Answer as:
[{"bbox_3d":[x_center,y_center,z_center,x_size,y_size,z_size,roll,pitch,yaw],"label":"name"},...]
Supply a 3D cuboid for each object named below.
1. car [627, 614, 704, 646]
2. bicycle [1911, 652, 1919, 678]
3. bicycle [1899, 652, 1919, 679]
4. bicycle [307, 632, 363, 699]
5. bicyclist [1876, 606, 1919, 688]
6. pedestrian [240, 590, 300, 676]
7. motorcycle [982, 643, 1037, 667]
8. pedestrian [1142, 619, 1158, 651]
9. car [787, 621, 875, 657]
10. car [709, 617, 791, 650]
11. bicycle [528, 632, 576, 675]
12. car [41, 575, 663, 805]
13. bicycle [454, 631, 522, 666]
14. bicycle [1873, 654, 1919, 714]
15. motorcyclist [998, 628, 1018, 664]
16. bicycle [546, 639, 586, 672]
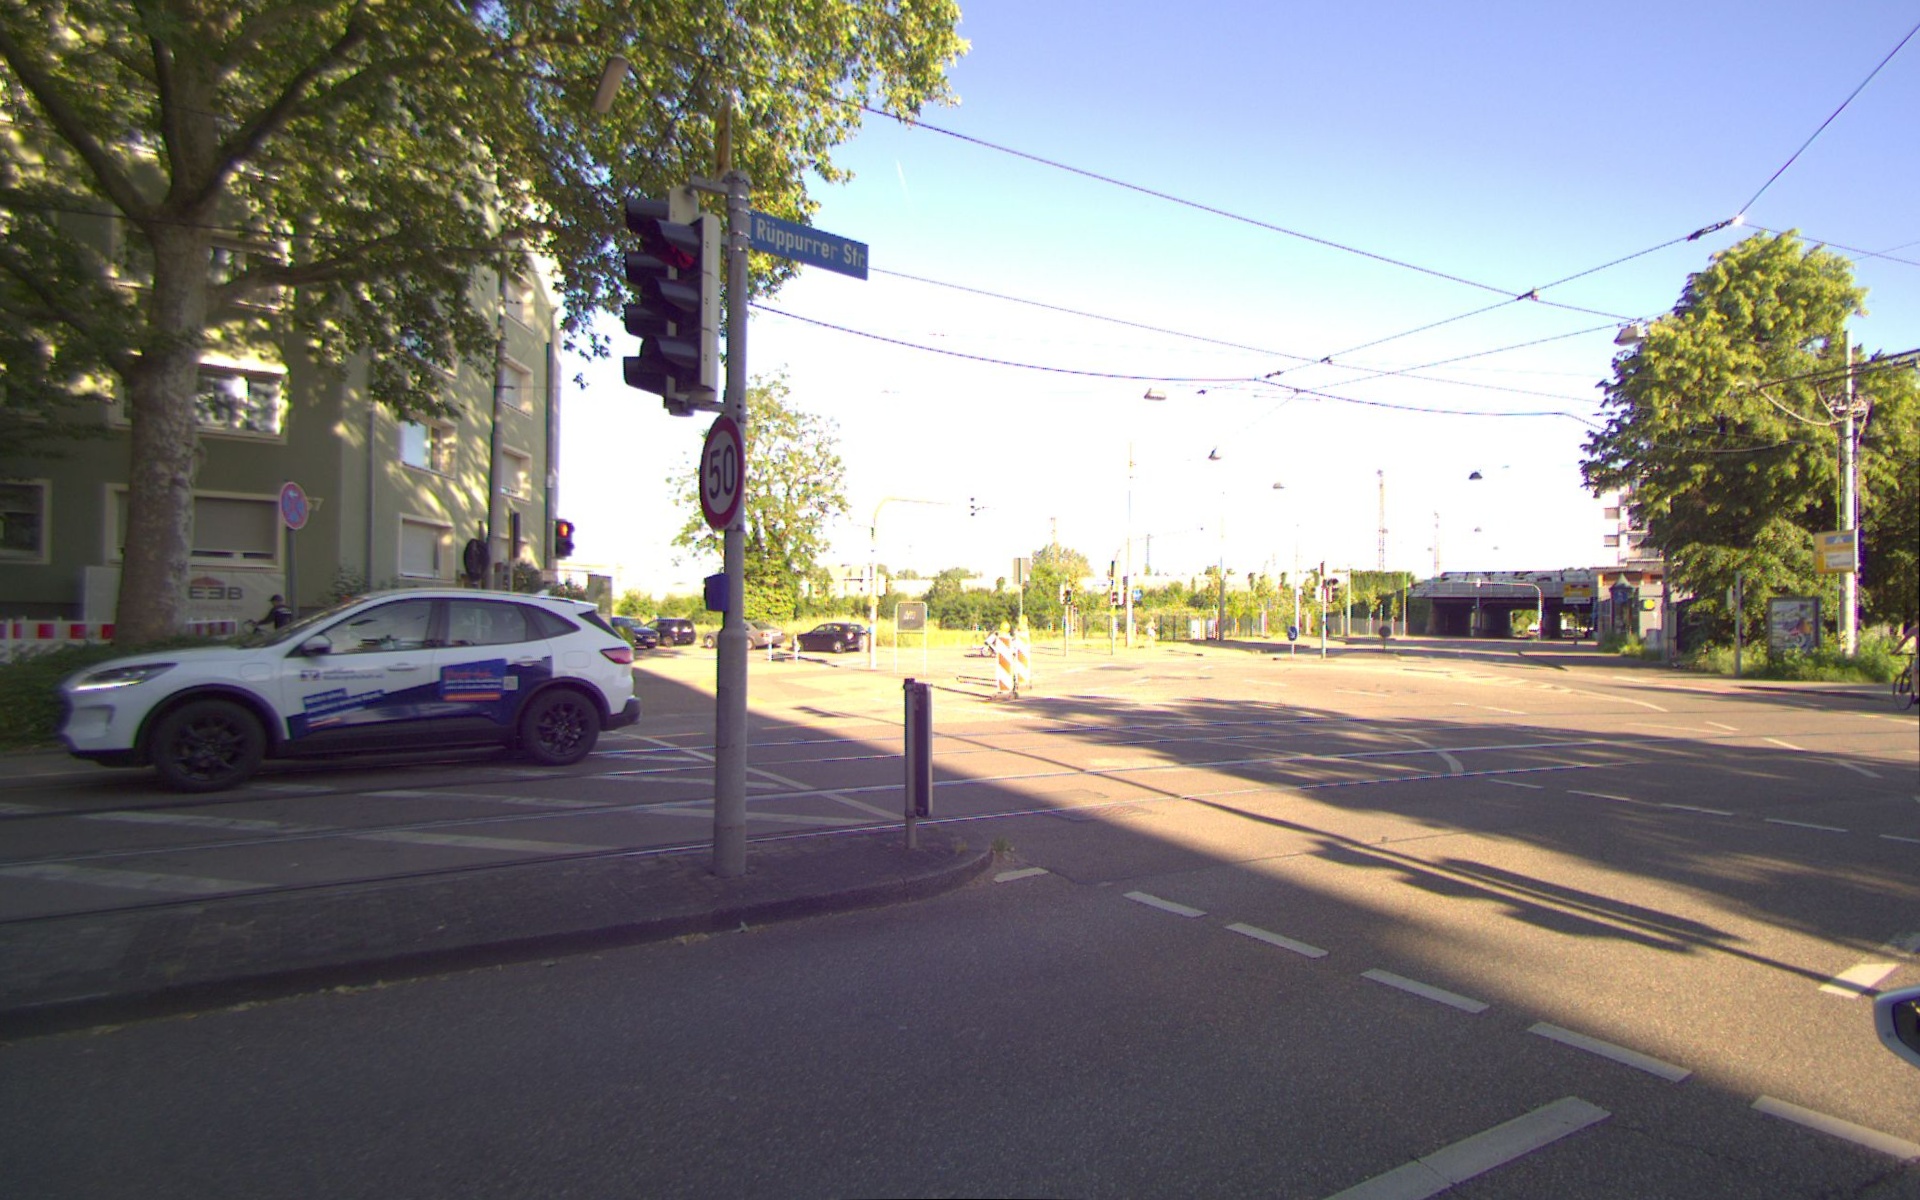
[{"bbox_3d":[-16.299,1.639,55.631,3.930,1.439,1.889,1,5,31],"label":"car"},{"bbox_3d":[34.781,2.315,35.319,0.651,0.918,1.871,1,-1,-25],"label":"bicycle"},{"bbox_3d":[33.921,2.309,34.857,0.651,0.918,1.871,1,-1,-25],"label":"bicycle"},{"bbox_3d":[-9.107,0.925,14.620,0.356,0.900,1.553,2,-1,-44],"label":"bicycle"},{"bbox_3d":[18.390,0.899,19.221,0.826,1.530,1.368,0,-1,21],"label":"bicyclist"},{"bbox_3d":[-13.168,0.625,19.170,0.591,1.589,0.741,0,-1,30],"label":"pedestrian"},{"bbox_3d":[2.118,2.350,42.877,2.298,0.882,0.732,2,0,0],"label":"motorcycle"},{"bbox_3d":[9.898,1.839,52.346,0.590,1.617,0.683,2,0,32],"label":"pedestrian"},{"bbox_3d":[-6.287,1.848,48.902,3.930,1.439,1.889,1,5,31],"label":"car"},{"bbox_3d":[-10.916,1.706,52.157,3.930,1.439,1.889,1,5,31],"label":"car"},{"bbox_3d":[-9.173,1.185,22.528,0.356,0.900,1.757,2,-1,-44],"label":"bicycle"},{"bbox_3d":[-5.384,0.707,9.432,4.589,1.653,1.978,2,-1,-38],"label":"car"},{"bbox_3d":[-10.986,1.124,23.437,0.351,0.769,1.781,1,-1,15],"label":"bicycle"},{"bbox_3d":[18.416,1.602,19.243,0.656,1.073,2.082,0,-1,21],"label":"bicycle"},{"bbox_3d":[2.053,1.951,42.854,0.779,1.452,0.714,2,0,0],"label":"motorcyclist"},{"bbox_3d":[-10.023,1.394,25.604,0.351,0.769,1.780,1,-1,-2],"label":"bicycle"}]
